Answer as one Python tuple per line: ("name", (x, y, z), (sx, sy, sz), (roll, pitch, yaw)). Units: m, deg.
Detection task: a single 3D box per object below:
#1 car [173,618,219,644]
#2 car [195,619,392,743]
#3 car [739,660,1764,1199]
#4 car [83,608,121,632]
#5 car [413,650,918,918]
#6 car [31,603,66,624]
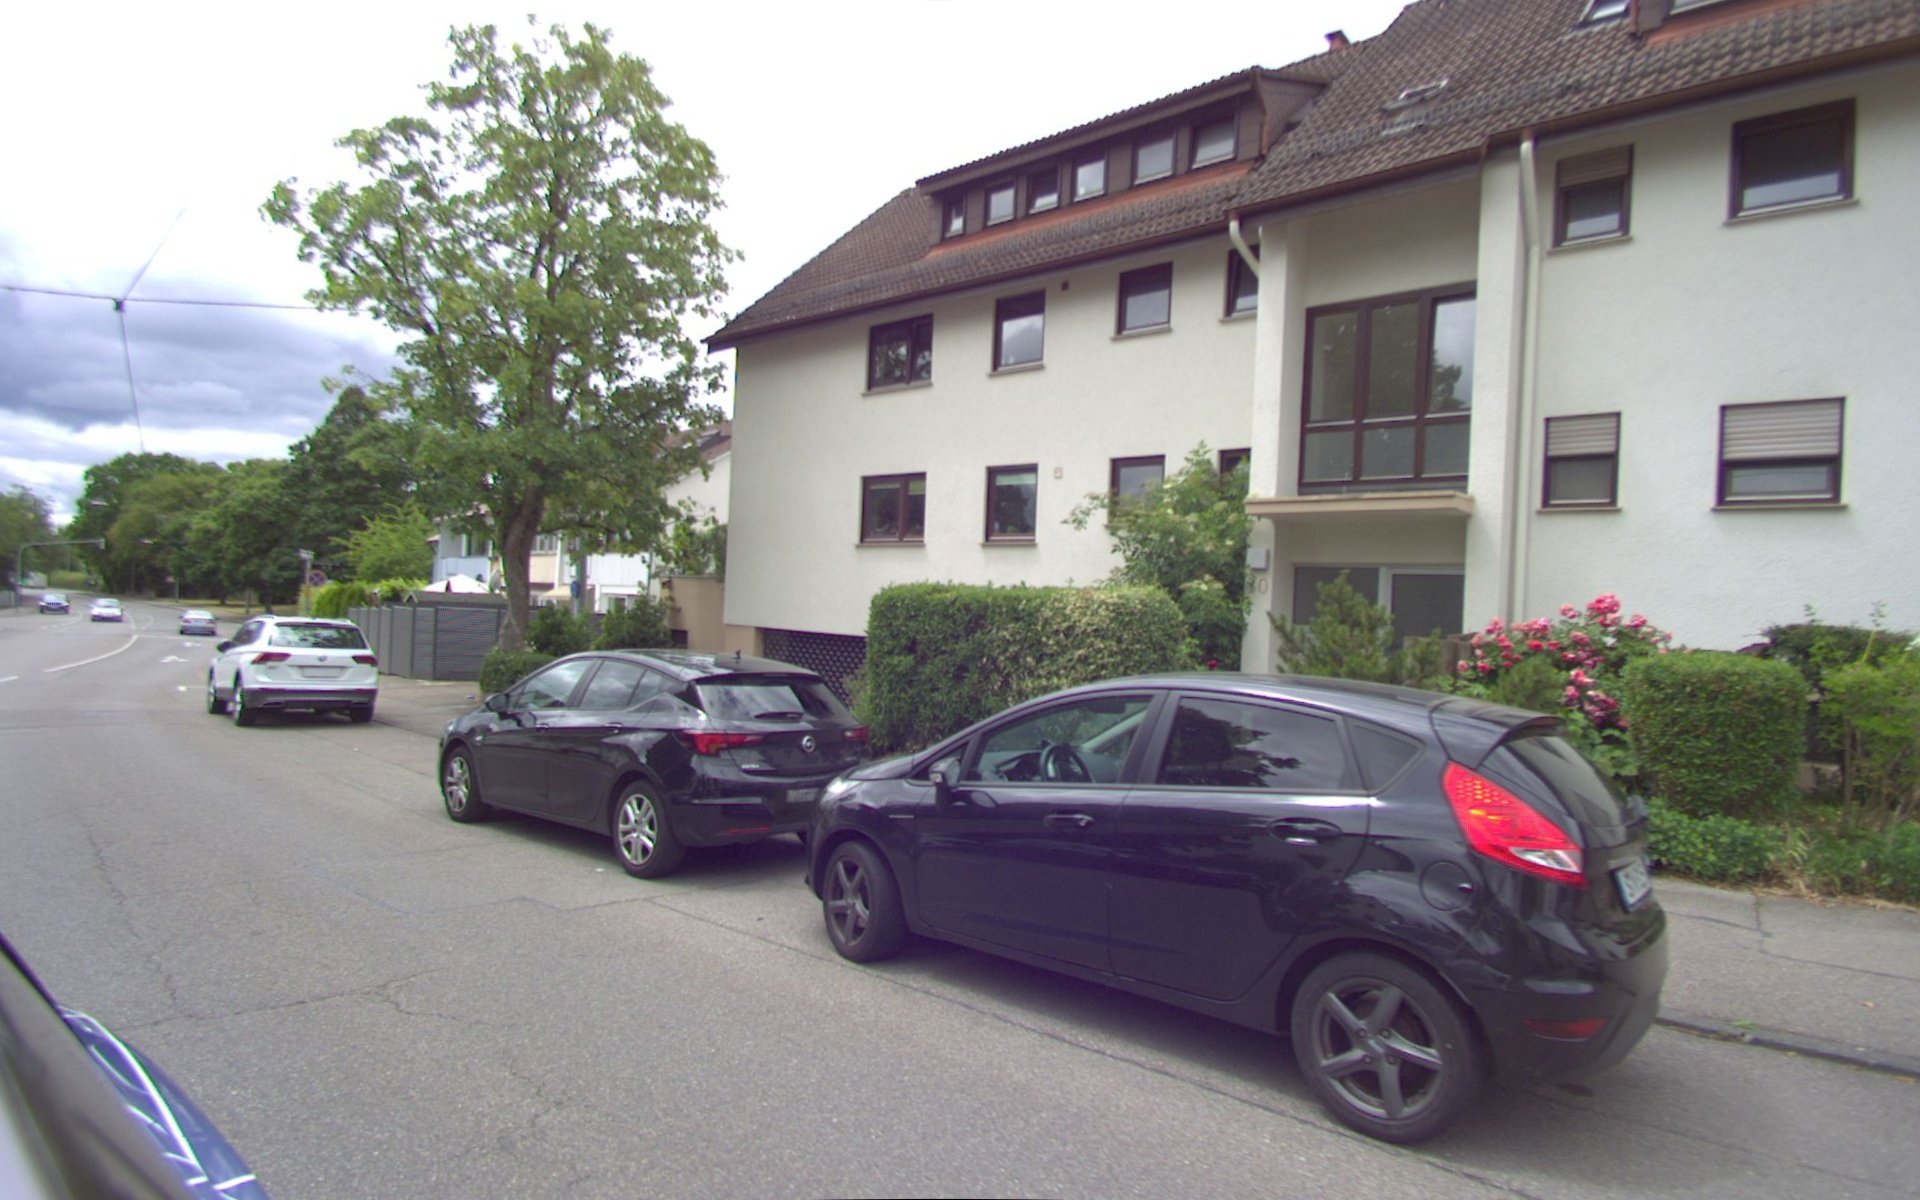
("car", (-44.484, 1.779, 58.982), (1.689, 1.364, 4.095), (4, -3, -31))
("car", (-11.034, 1.227, 16.607), (1.828, 1.727, 4.579), (4, -4, -44))
("car", (0.984, 1.066, 4.569), (4.076, 1.449, 1.744), (-1, -5, 41))
("car", (-61.080, 1.395, 72.049), (3.559, 1.530, 1.755), (2, 1, 44))
("car", (-2.426, 1.168, 7.811), (4.075, 1.449, 1.744), (-1, -4, 40))
("car", (-72.721, 1.070, 80.788), (1.897, 1.530, 4.007), (2, 0, -39))
